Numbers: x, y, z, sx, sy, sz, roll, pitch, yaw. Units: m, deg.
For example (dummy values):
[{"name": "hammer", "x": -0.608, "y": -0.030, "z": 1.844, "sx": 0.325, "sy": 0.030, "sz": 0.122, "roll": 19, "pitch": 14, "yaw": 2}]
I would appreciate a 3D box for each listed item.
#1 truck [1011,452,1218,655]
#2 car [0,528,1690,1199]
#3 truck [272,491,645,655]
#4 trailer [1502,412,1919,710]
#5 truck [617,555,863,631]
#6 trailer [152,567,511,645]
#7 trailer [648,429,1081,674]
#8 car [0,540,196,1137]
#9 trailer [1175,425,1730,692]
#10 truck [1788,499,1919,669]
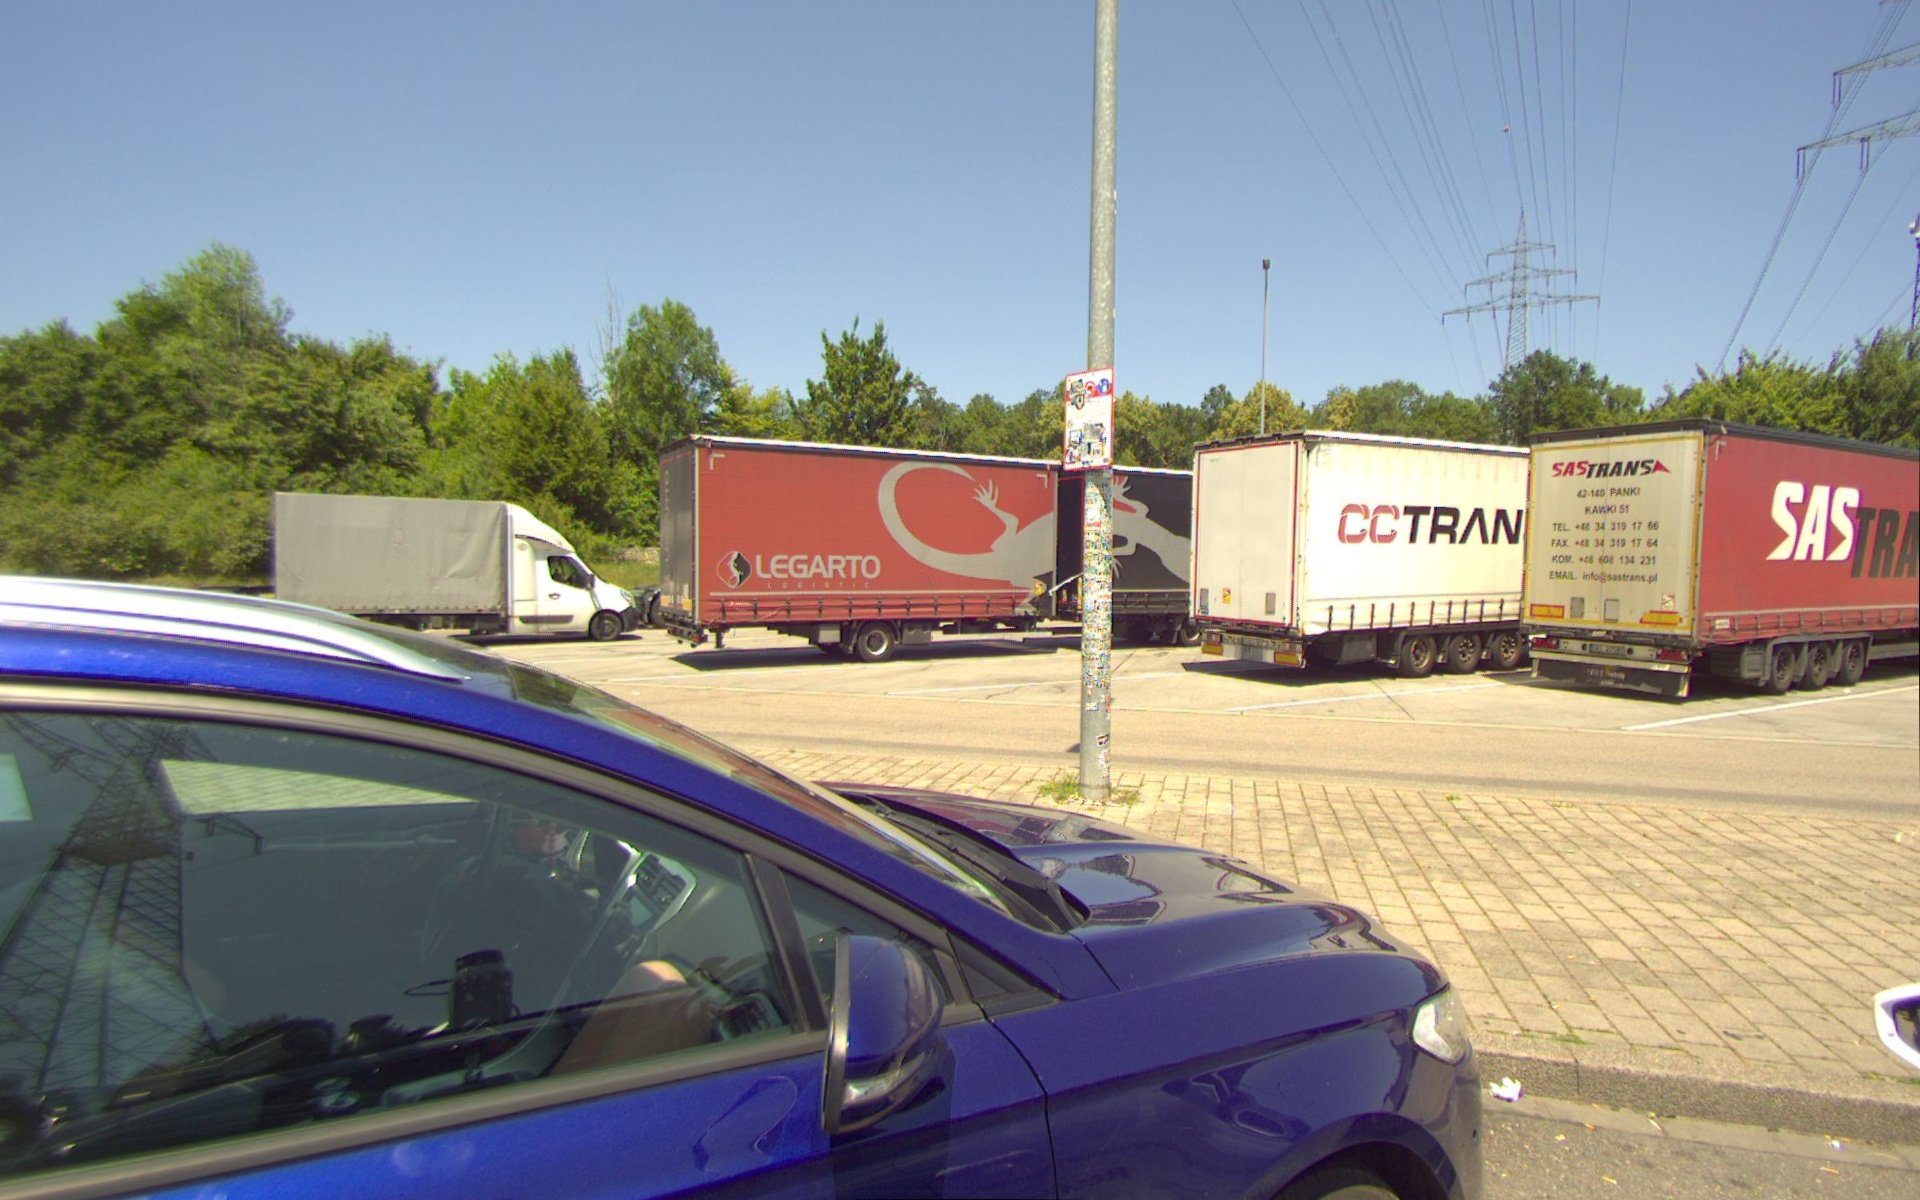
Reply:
[{"name": "truck", "x": 3.575, "y": -1.068, "z": 23.449, "sx": 3.947, "sy": 4.298, "sz": 2.723, "roll": -1, "pitch": 3, "yaw": -30}, {"name": "car", "x": -1.030, "y": 0.673, "z": 1.492, "sx": 4.444, "sy": 1.511, "sz": 1.859, "roll": 0, "pitch": 2, "yaw": -32}, {"name": "truck", "x": -11.183, "y": -0.627, "z": 23.024, "sx": 7.204, "sy": 3.279, "sz": 2.727, "roll": -1, "pitch": 3, "yaw": -29}, {"name": "trailer", "x": 15.612, "y": -0.694, "z": 18.724, "sx": 13.962, "sy": 4.141, "sz": 2.777, "roll": -1, "pitch": 3, "yaw": -30}, {"name": "truck", "x": -6.341, "y": -0.231, "z": 29.273, "sx": 6.733, "sy": 2.041, "sz": 1.987, "roll": -1, "pitch": 1, "yaw": -26}, {"name": "trailer", "x": -15.158, "y": 0.054, "z": 24.893, "sx": 7.204, "sy": 1.711, "sz": 2.249, "roll": -1, "pitch": 3, "yaw": -29}, {"name": "trailer", "x": -1.737, "y": -0.903, "z": 20.328, "sx": 8.376, "sy": 4.141, "sz": 2.722, "roll": -1, "pitch": 3, "yaw": -30}, {"name": "car", "x": -4.607, "y": 0.595, "z": 2.225, "sx": 4.444, "sy": 1.520, "sz": 1.762, "roll": 0, "pitch": 2, "yaw": -32}, {"name": "trailer", "x": 10.593, "y": -0.802, "z": 20.335, "sx": 13.962, "sy": 4.141, "sz": 2.782, "roll": -1, "pitch": 3, "yaw": -30}, {"name": "truck", "x": 21.215, "y": -0.395, "z": 22.001, "sx": 5.829, "sy": 3.373, "sz": 2.837, "roll": -1, "pitch": 3, "yaw": -30}]
